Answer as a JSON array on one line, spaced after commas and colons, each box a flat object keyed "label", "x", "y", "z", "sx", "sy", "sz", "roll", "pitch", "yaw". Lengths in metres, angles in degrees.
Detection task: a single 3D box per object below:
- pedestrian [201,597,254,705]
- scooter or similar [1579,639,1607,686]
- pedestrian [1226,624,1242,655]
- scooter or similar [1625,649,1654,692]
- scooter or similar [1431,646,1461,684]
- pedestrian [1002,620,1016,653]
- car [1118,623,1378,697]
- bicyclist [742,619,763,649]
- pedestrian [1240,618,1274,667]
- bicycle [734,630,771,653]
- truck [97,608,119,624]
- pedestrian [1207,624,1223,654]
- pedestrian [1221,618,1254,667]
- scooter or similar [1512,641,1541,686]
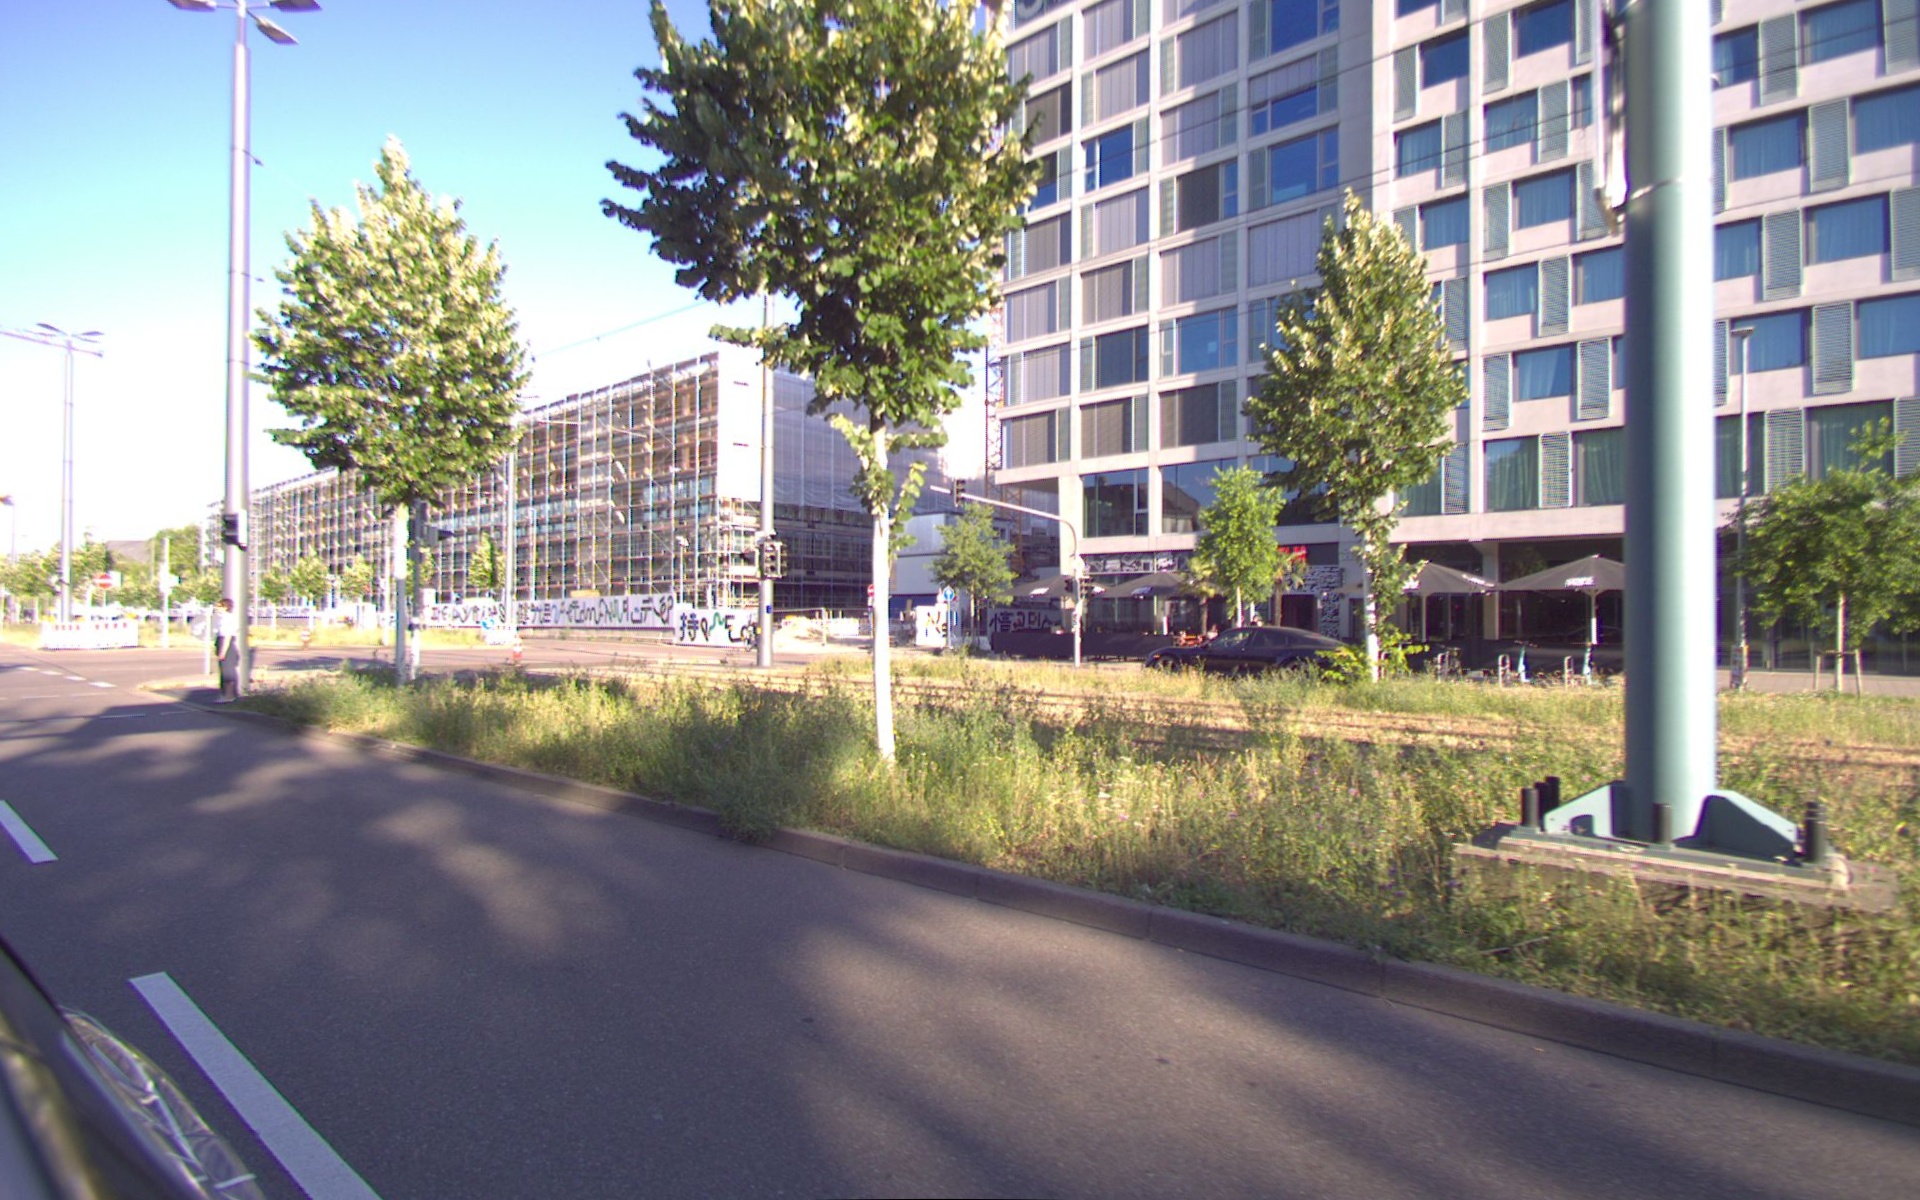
[{"label": "pedestrian", "x": -11.990, "y": 0.817, "z": 16.566, "sx": 0.591, "sy": 1.712, "sz": 0.715, "roll": 2, "pitch": -2, "yaw": -43}, {"label": "scooter or similar", "x": 16.433, "y": 1.608, "z": 26.252, "sx": 0.406, "sy": 1.181, "sz": 1.230, "roll": -1, "pitch": -2, "yaw": 42}, {"label": "pedestrian", "x": 11.189, "y": 1.605, "z": 41.341, "sx": 0.497, "sy": 1.231, "sz": 0.427, "roll": -1, "pitch": -2, "yaw": 42}, {"label": "scooter or similar", "x": 16.985, "y": 1.740, "z": 25.301, "sx": 0.435, "sy": 1.027, "sz": 1.230, "roll": -1, "pitch": -2, "yaw": 42}, {"label": "scooter or similar", "x": 13.640, "y": 1.806, "z": 28.376, "sx": 0.435, "sy": 1.027, "sz": 1.230, "roll": -1, "pitch": -2, "yaw": 42}, {"label": "pedestrian", "x": 2.276, "y": 1.705, "z": 46.846, "sx": 0.568, "sy": 1.510, "sz": 0.588, "roll": 0, "pitch": -1, "yaw": -4}, {"label": "car", "x": 5.839, "y": 1.161, "z": 20.928, "sx": 4.847, "sy": 1.354, "sz": 1.871, "roll": -1, "pitch": -2, "yaw": 41}, {"label": "bicyclist", "x": -10.069, "y": 1.638, "z": 49.102, "sx": 0.851, "sy": 1.476, "sz": 0.618, "roll": -1, "pitch": -2, "yaw": 42}, {"label": "pedestrian", "x": 10.532, "y": 1.496, "z": 35.889, "sx": 0.858, "sy": 1.734, "sz": 0.805, "roll": 1, "pitch": -2, "yaw": -39}, {"label": "bicycle", "x": -10.084, "y": 1.995, "z": 49.104, "sx": 2.077, "sy": 1.075, "sz": 0.618, "roll": -1, "pitch": -2, "yaw": 42}, {"label": "truck", "x": -138.147, "y": 2.658, "z": 164.091, "sx": 4.740, "sy": 2.593, "sz": 2.114, "roll": -1, "pitch": -2, "yaw": 43}, {"label": "pedestrian", "x": 10.555, "y": 1.616, "z": 41.951, "sx": 0.497, "sy": 1.231, "sz": 0.427, "roll": -1, "pitch": -2, "yaw": 42}, {"label": "pedestrian", "x": 9.989, "y": 1.506, "z": 36.474, "sx": 0.858, "sy": 1.734, "sz": 0.805, "roll": 1, "pitch": -2, "yaw": -39}, {"label": "scooter or similar", "x": 15.299, "y": 1.707, "z": 27.314, "sx": 0.406, "sy": 1.181, "sz": 1.230, "roll": -1, "pitch": -2, "yaw": 42}]
